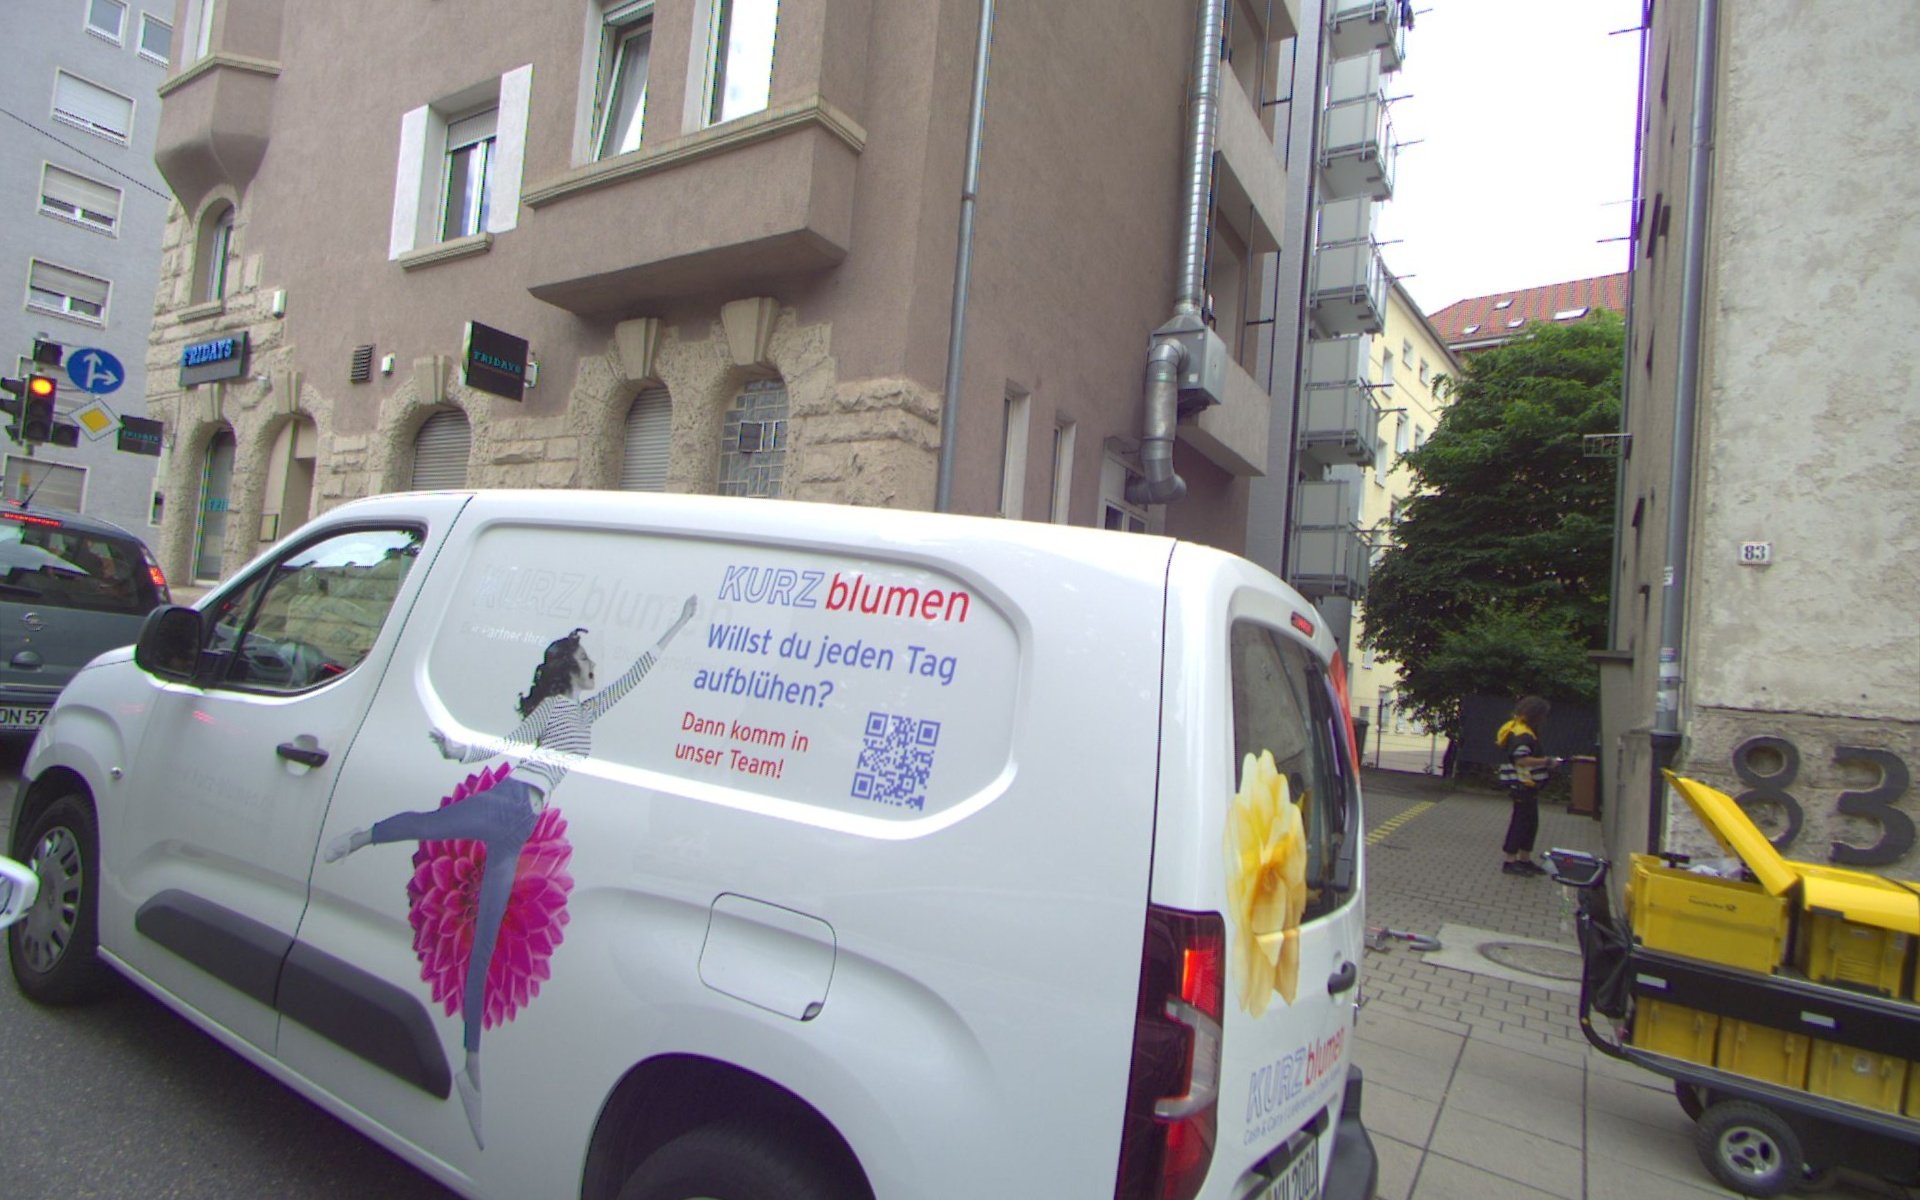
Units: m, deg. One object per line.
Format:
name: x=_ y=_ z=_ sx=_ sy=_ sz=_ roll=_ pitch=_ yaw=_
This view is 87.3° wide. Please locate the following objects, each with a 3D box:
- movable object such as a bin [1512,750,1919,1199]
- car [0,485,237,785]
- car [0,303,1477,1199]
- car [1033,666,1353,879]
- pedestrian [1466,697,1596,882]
movable object such as a bin: x=3.157 y=1.438 z=3.887 sx=1.665 sy=1.437 sz=0.720 roll=6 pitch=-1 yaw=31
car: x=-6.658 y=0.053 z=6.518 sx=3.570 sy=1.609 sz=1.759 roll=6 pitch=-5 yaw=31
car: x=-1.315 y=0.582 z=3.226 sx=4.945 sy=1.845 sz=1.852 roll=4 pitch=-4 yaw=37
car: x=2.549 y=1.631 z=10.189 sx=1.770 sy=1.419 sz=3.995 roll=9 pitch=-1 yaw=33
pedestrian: x=5.605 y=1.838 z=9.891 sx=0.753 sy=1.680 sz=0.740 roll=5 pitch=-3 yaw=-24
